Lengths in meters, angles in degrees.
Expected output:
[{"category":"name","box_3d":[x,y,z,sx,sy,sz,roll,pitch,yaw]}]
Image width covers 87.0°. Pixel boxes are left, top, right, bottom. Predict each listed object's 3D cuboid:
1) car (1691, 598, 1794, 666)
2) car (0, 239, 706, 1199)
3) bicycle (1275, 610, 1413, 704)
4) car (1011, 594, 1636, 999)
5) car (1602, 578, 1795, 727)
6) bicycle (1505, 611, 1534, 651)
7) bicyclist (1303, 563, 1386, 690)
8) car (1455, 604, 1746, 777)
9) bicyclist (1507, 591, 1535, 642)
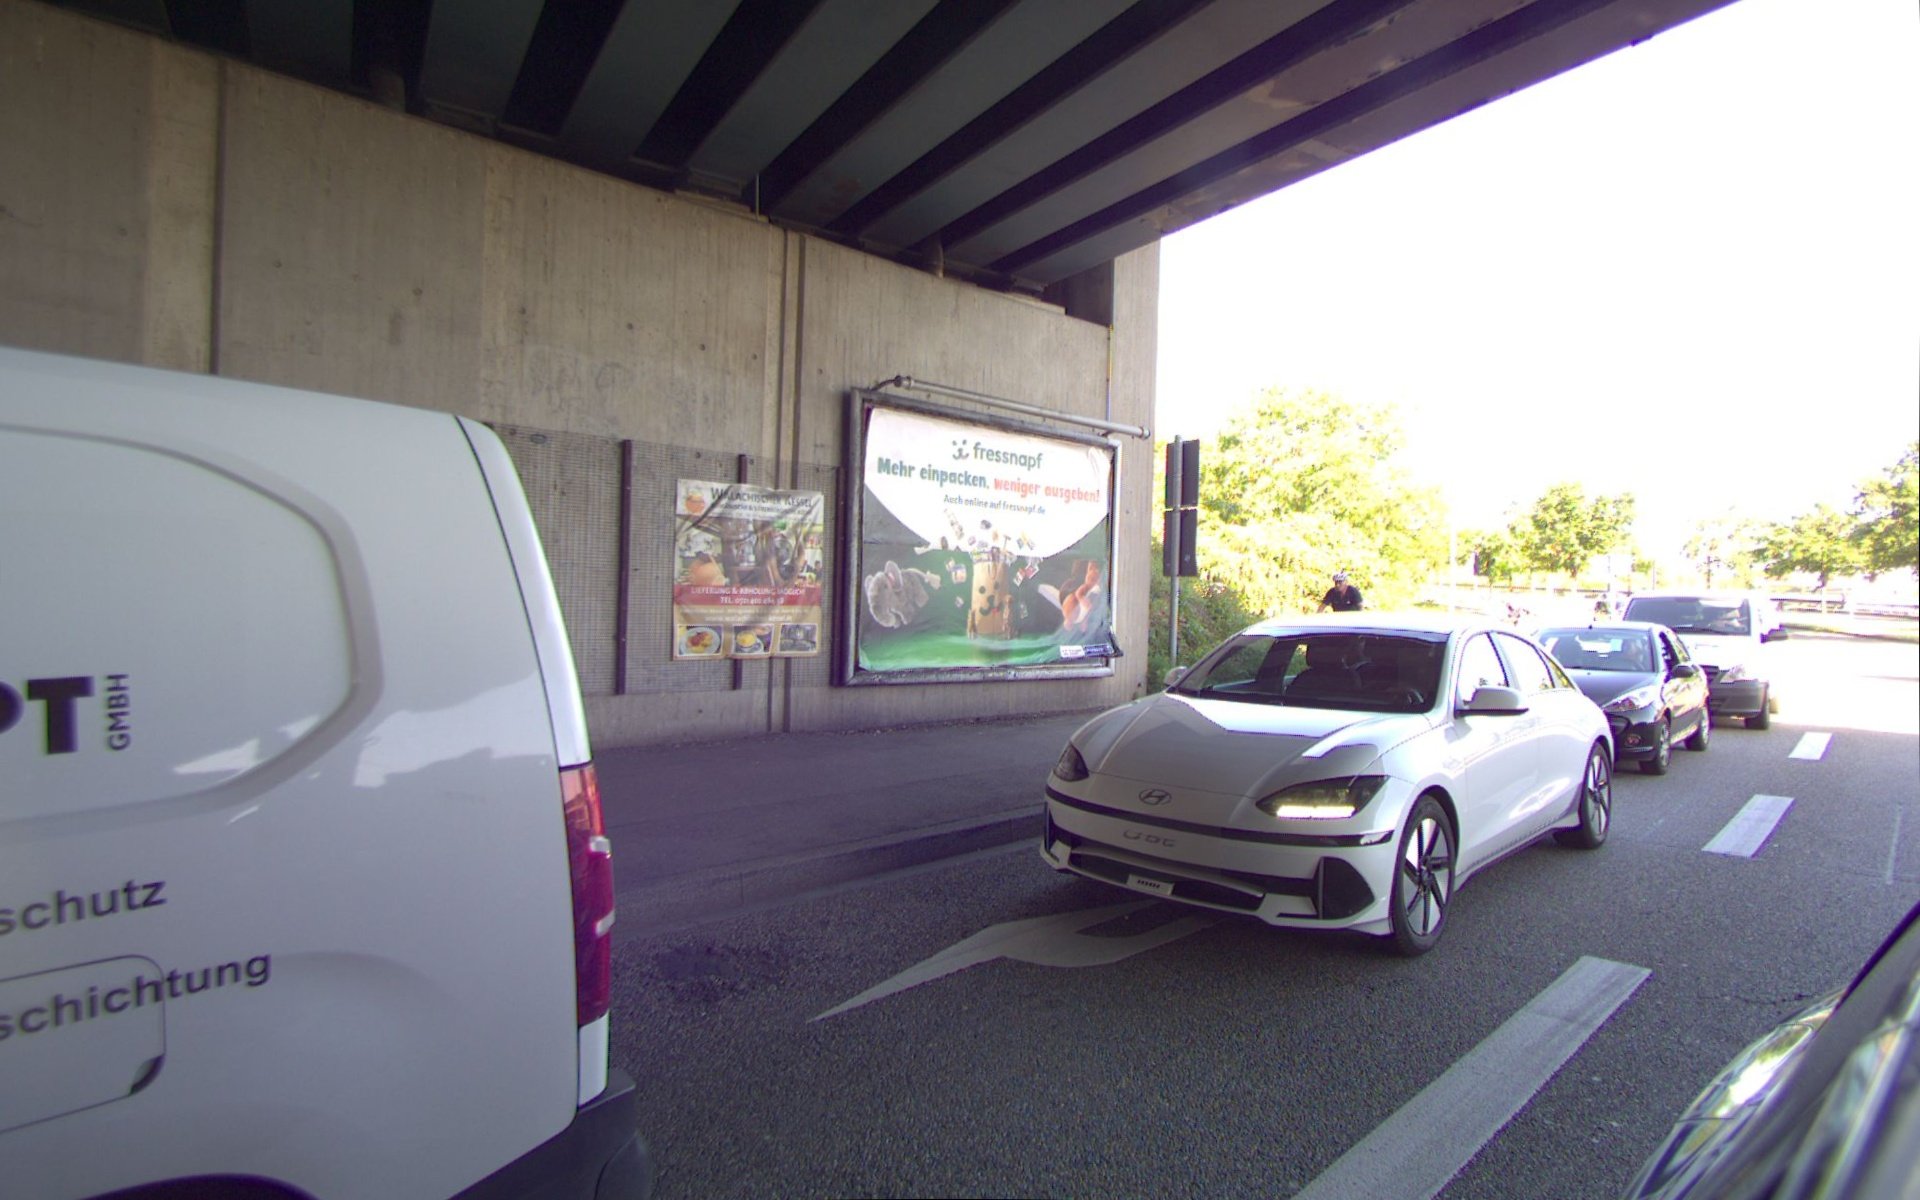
[{"category":"car","box_3d":[20.516,0.763,26.508,1.990,1.570,4.358,1,1,39]},{"category":"car","box_3d":[-2.583,0.515,0.878,4.227,1.857,1.815,1,-1,-43]},{"category":"bicycle","box_3d":[5.364,0.737,14.050,2.427,1.160,0.766,0,0,-42]},{"category":"car","box_3d":[2.459,0.719,5.963,1.746,1.474,4.589,0,0,44]},{"category":"car","box_3d":[11.065,0.654,15.014,1.896,1.859,4.762,0,0,42]},{"category":"bicycle","box_3d":[17.564,0.953,31.737,0.648,1.181,1.758,4,2,32]},{"category":"bicyclist","box_3d":[5.326,0.349,14.018,0.871,1.676,0.748,0,0,-41]},{"category":"car","box_3d":[6.801,0.786,10.610,3.654,1.474,1.747,0,0,-43]},{"category":"bicyclist","box_3d":[17.606,0.504,31.757,0.650,1.552,0.837,4,2,32]}]
